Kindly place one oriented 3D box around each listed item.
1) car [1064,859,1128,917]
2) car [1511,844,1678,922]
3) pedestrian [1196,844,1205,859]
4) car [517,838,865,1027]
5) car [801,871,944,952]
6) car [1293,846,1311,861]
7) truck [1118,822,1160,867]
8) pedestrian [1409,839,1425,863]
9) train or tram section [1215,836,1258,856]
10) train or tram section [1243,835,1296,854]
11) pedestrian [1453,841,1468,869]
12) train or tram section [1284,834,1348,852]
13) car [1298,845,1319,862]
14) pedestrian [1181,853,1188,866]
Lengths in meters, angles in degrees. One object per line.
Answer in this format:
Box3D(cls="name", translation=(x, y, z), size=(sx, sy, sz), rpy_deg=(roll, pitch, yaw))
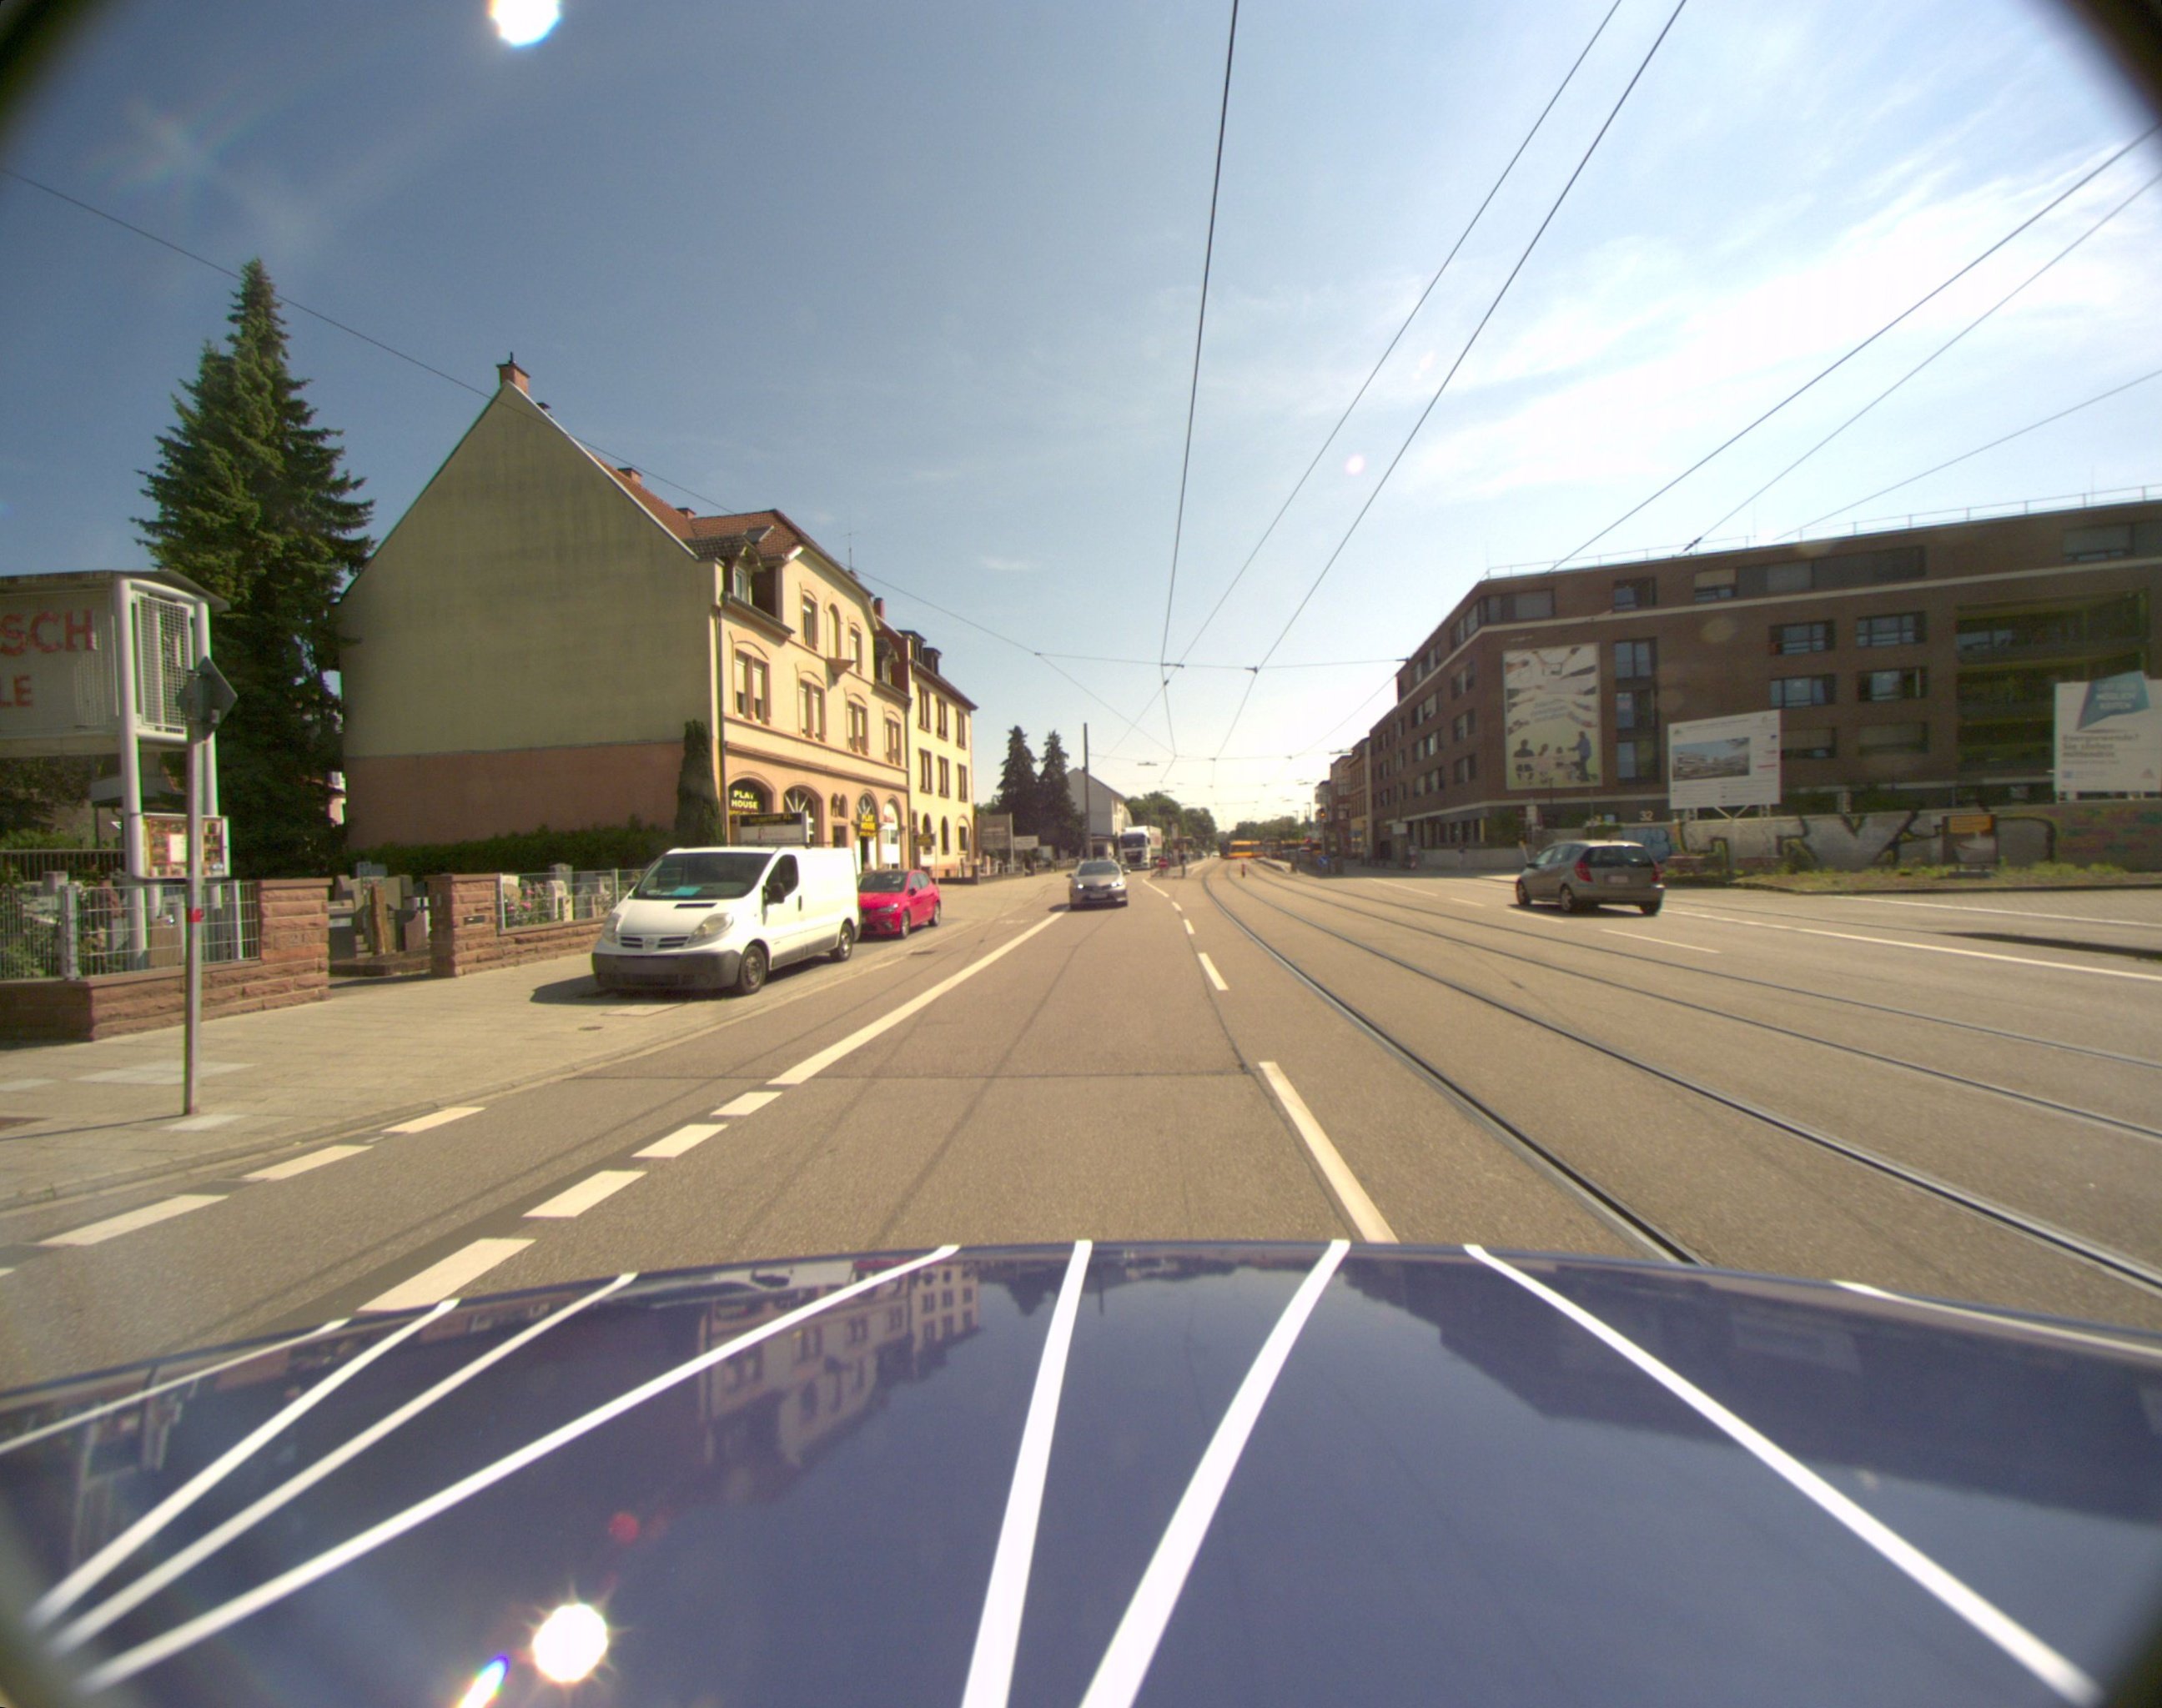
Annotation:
Box3D(cls="car", translation=(0.551, 0.944, 23.166), size=(1.695, 1.440, 4.482), rpy_deg=(-3, 0, 4))
Box3D(cls="car", translation=(11.538, 0.575, 17.413), size=(1.749, 1.562, 3.894), rpy_deg=(-1, 1, 10))
Box3D(cls="pedestrian", translation=(15.525, -0.302, 98.659), size=(0.982, 1.848, 1.238), rpy_deg=(-1, 0, 12))
Box3D(cls="car", translation=(-5.023, 0.877, 10.907), size=(1.980, 2.042, 5.193), rpy_deg=(0, 0, 5))
Box3D(cls="car", translation=(-4.470, 1.171, 17.030), size=(1.725, 1.435, 4.313), rpy_deg=(0, 1, 4))
Box3D(cls="car", translation=(27.040, -0.077, 92.934), size=(1.715, 1.613, 3.582), rpy_deg=(-3, 0, 12))
Box3D(cls="truck", translation=(5.368, -0.799, 69.059), size=(2.655, 3.772, 7.870), rpy_deg=(-1, 0, 12))
Box3D(cls="pedestrian", translation=(25.183, -0.215, 56.965), size=(0.846, 1.808, 0.839), rpy_deg=(-2, 1, 12))
Box3D(cls="train or tram section", translation=(29.808, -1.546, 144.958), size=(2.681, 3.460, 13.364), rpy_deg=(-1, 0, 35))
Box3D(cls="train or tram section", translation=(38.420, -1.918, 154.392), size=(13.363, 3.460, 2.681), rpy_deg=(-2, 1, -39))
Box3D(cls="pedestrian", translation=(22.774, 0.033, 45.570), size=(0.582, 1.654, 0.700), rpy_deg=(-2, 1, 10))
Box3D(cls="train or tram section", translation=(49.424, -2.314, 159.963), size=(13.343, 3.460, 2.685), rpy_deg=(-2, 1, -13))
Box3D(cls="car", translation=(25.462, -0.096, 85.244), size=(1.804, 1.718, 4.192), rpy_deg=(-3, 0, 12))
Box3D(cls="pedestrian", translation=(10.365, 0.550, 76.206), size=(0.630, 1.247, 0.710), rpy_deg=(-1, 1, 10))
